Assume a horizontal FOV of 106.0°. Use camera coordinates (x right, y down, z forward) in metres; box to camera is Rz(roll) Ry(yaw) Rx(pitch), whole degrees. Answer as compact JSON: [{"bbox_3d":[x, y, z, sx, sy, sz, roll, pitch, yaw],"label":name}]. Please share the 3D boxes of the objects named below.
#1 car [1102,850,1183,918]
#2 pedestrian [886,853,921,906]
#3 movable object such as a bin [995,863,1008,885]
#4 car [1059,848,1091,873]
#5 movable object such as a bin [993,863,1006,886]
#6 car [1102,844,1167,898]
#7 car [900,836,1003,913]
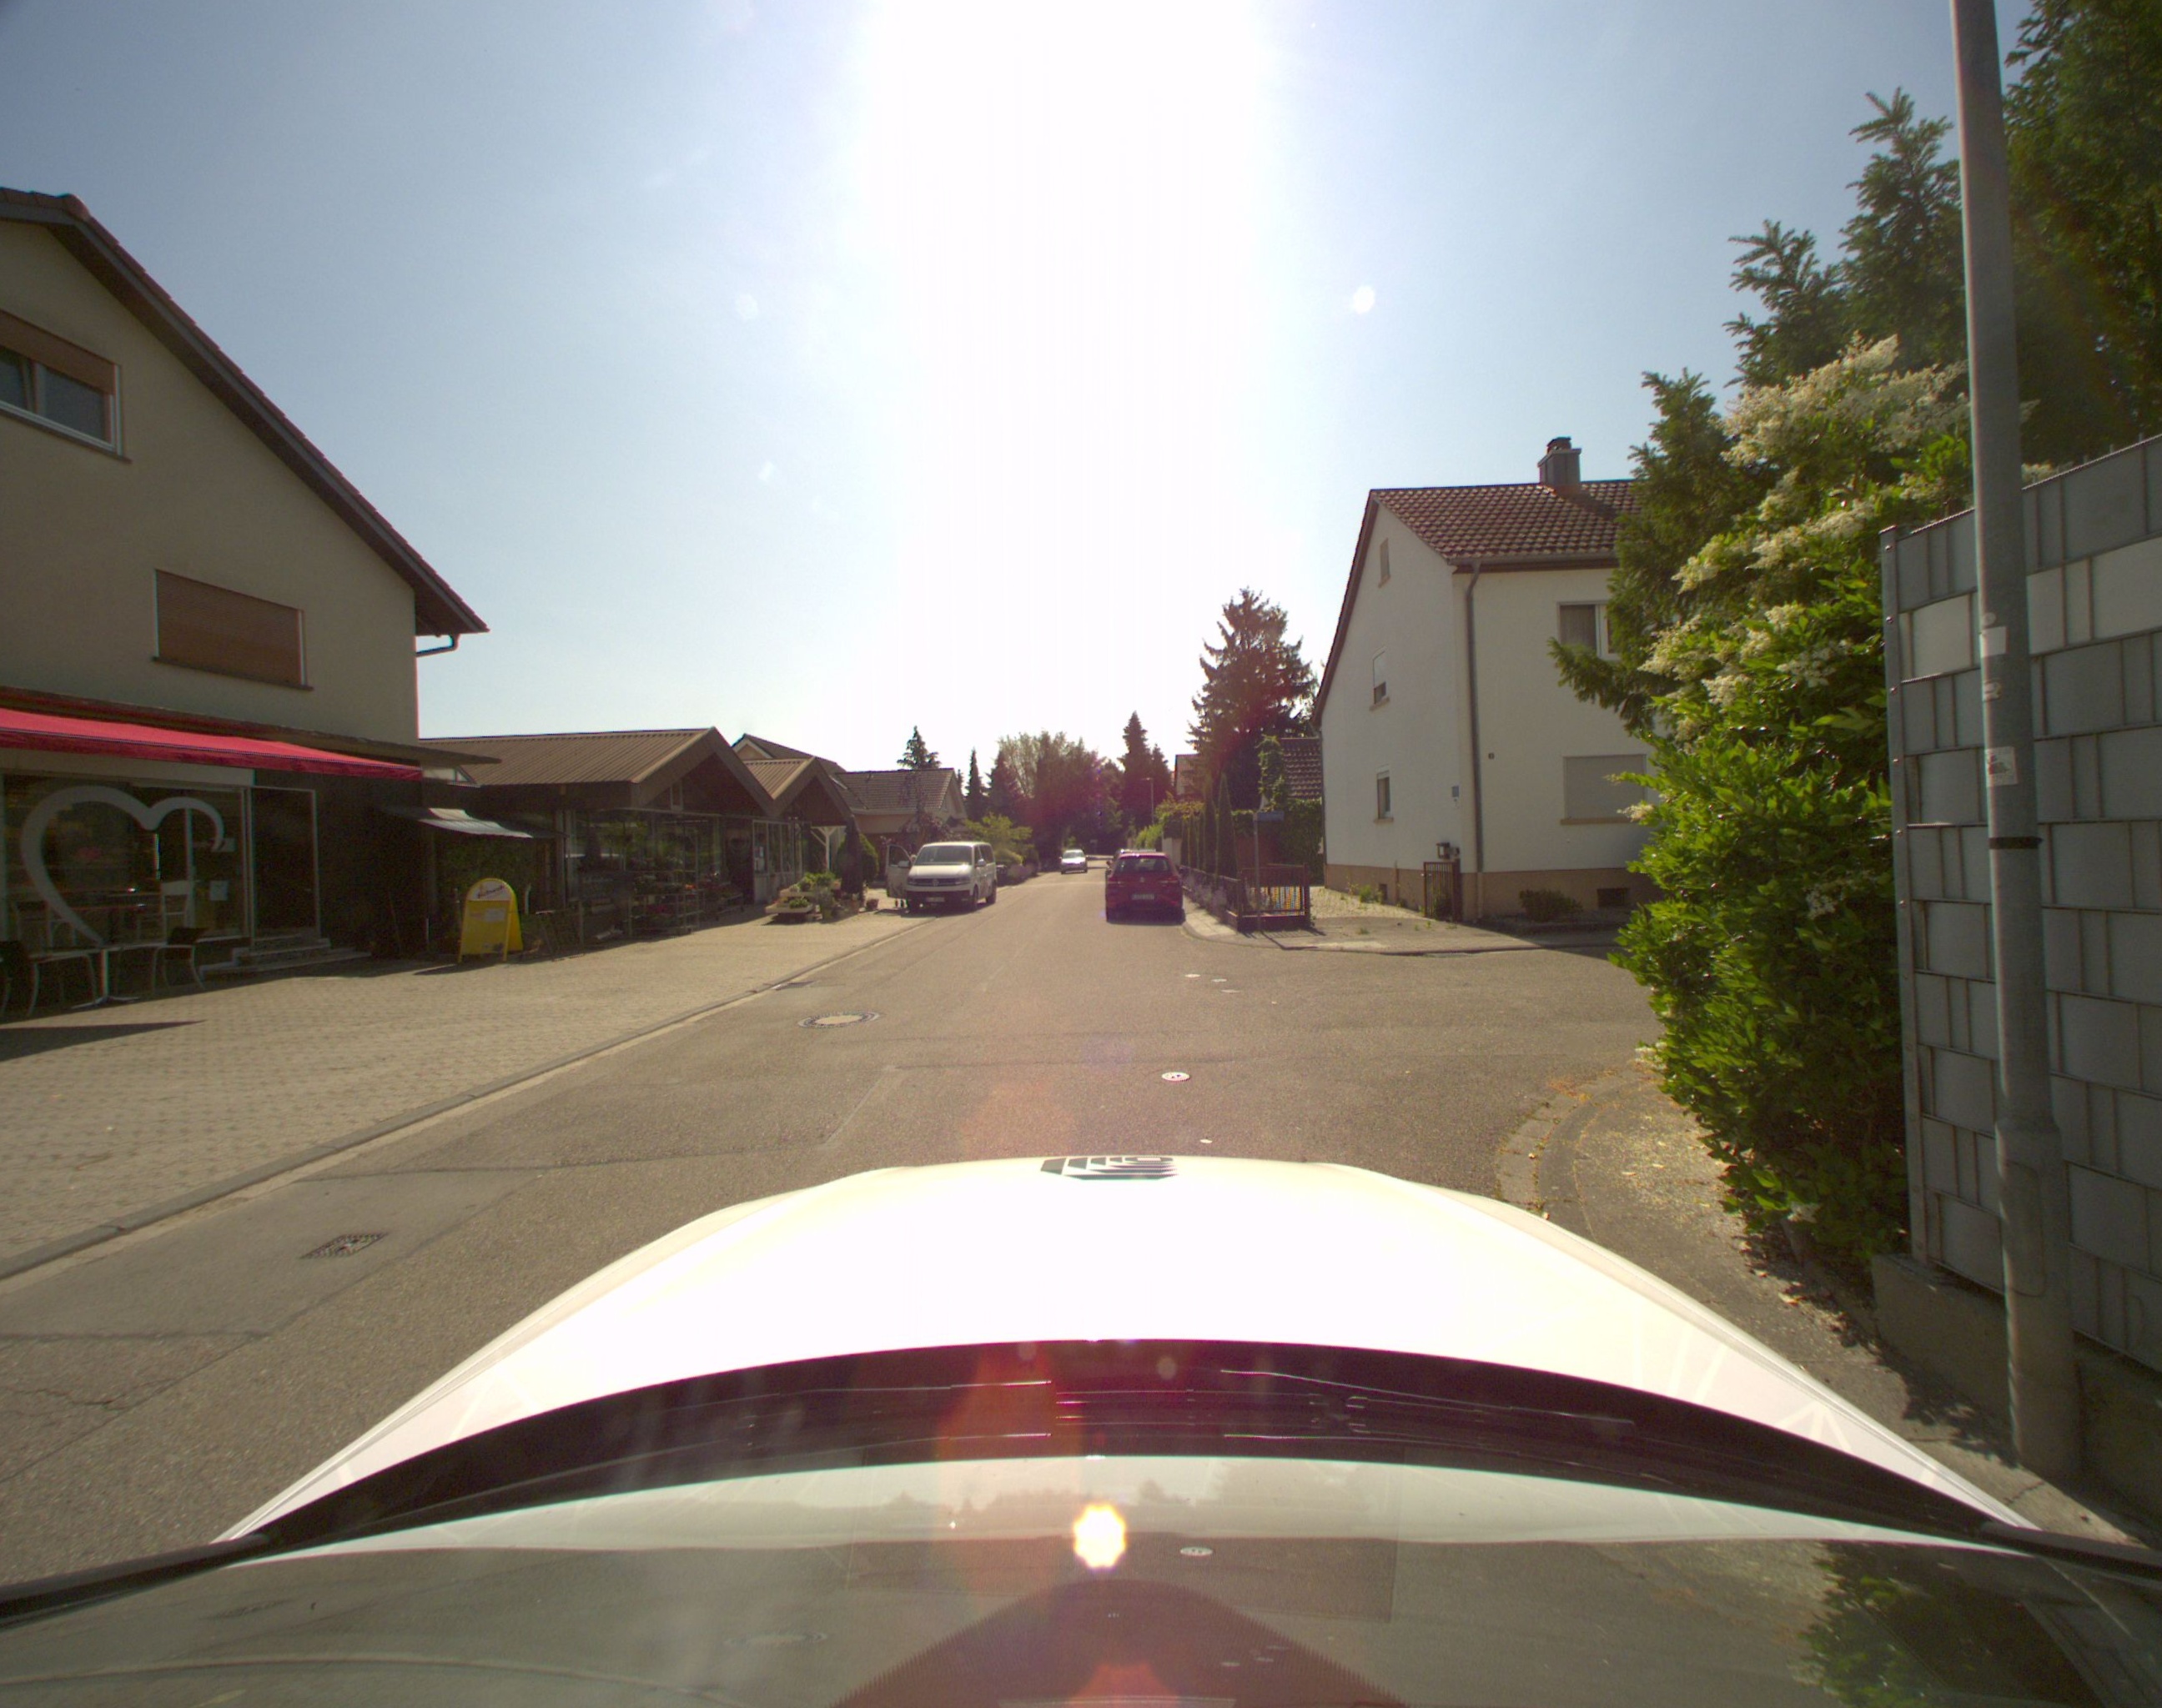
[{"bbox_3d":[1.534,0.643,19.721,1.767,1.479,4.006,0,0,6],"label":"car"},{"bbox_3d":[-5.251,0.739,24.079,0.710,1.538,0.646,-1,1,35],"label":"pedestrian"},{"bbox_3d":[-3.701,0.932,37.847,0.492,1.024,0.448,-2,0,2],"label":"movable object such as a bin"},{"bbox_3d":[-0.337,0.379,53.024,1.745,1.487,4.379,-2,0,3],"label":"car"},{"bbox_3d":[-3.729,0.924,37.385,0.492,1.024,0.448,-2,0,2],"label":"movable object such as a bin"},{"bbox_3d":[1.673,0.506,26.531,1.817,1.615,3.999,-1,0,0],"label":"car"},{"bbox_3d":[-3.699,0.544,24.215,1.920,2.013,4.901,-2,0,4],"label":"car"}]
